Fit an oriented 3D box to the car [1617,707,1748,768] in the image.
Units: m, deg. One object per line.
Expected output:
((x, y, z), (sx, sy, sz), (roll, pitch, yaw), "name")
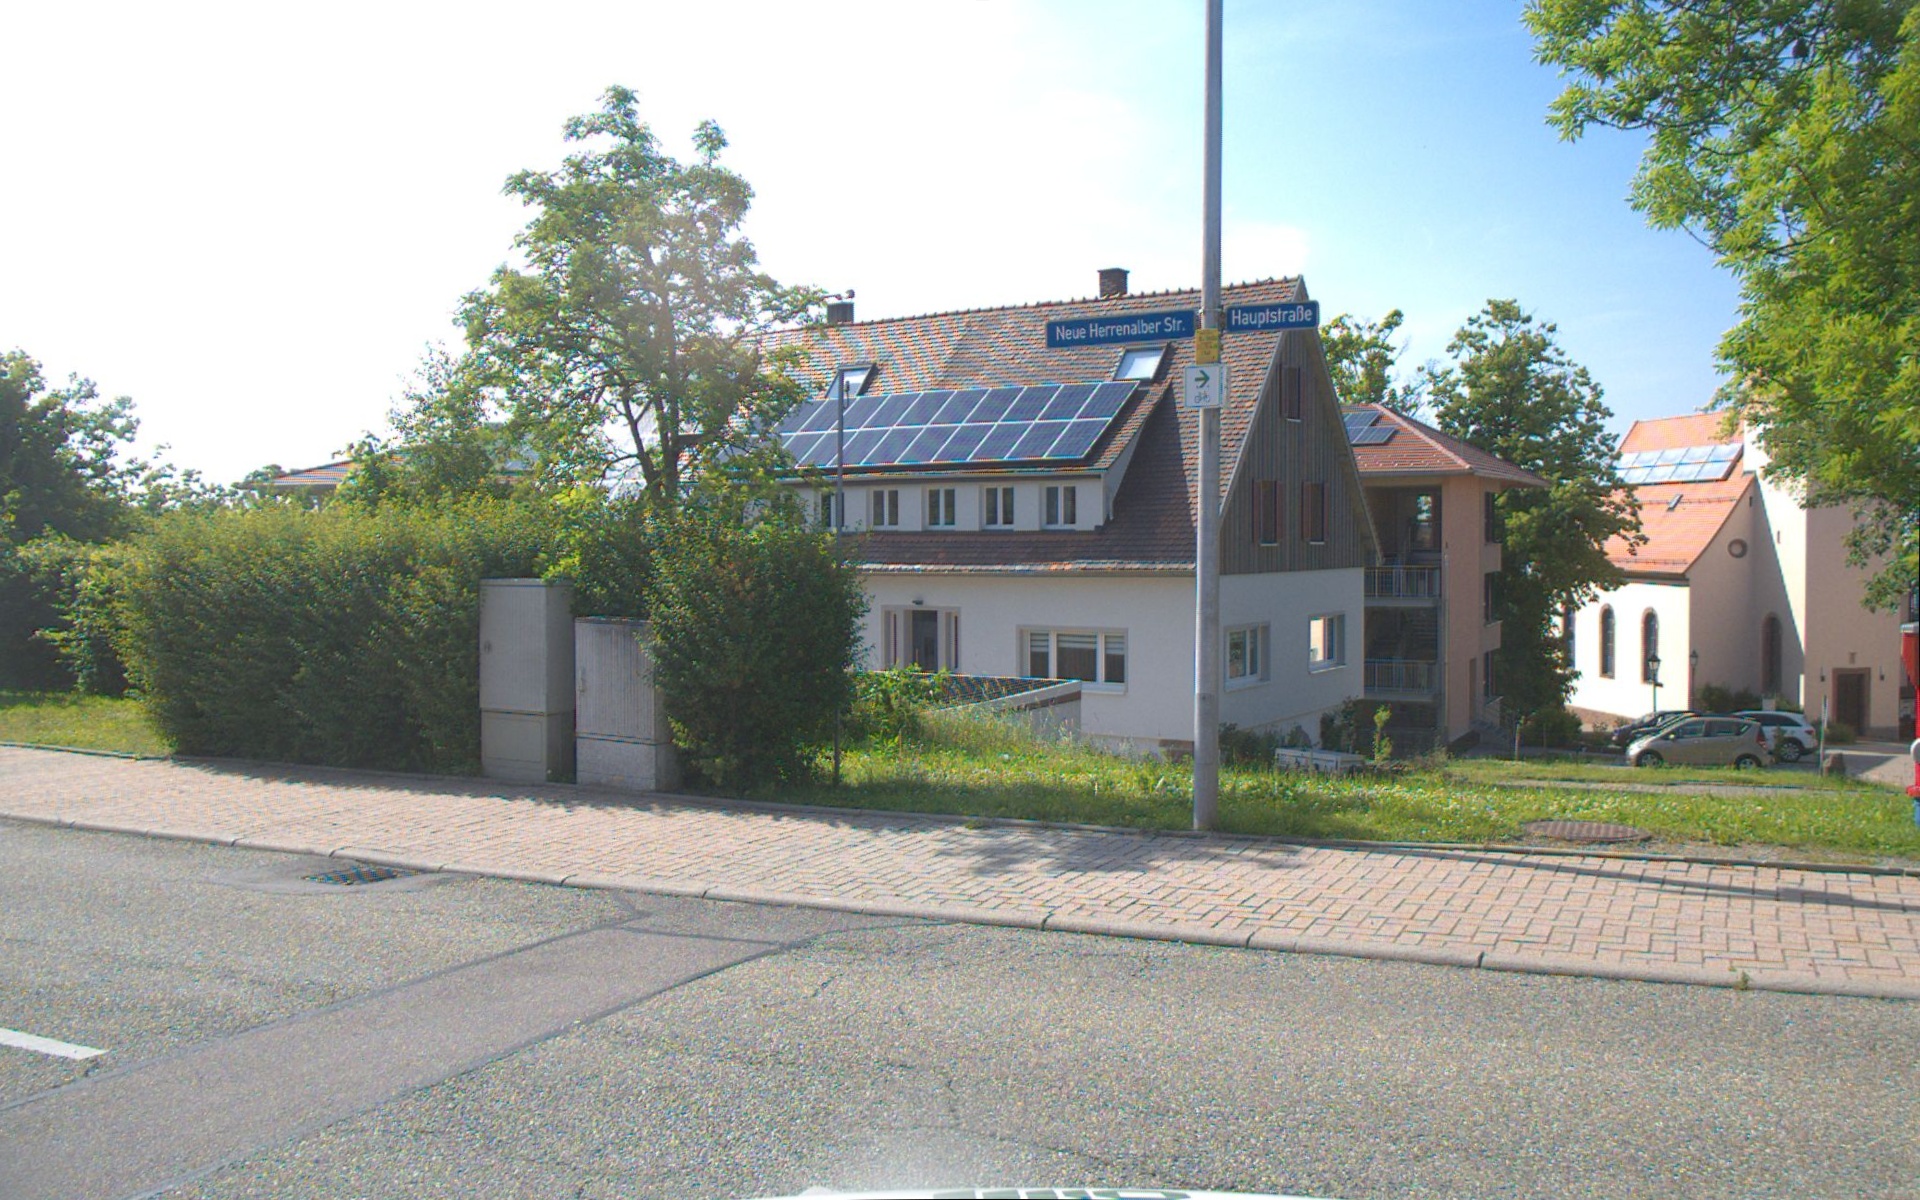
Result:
((22.841, 4.334, 52.453), (3.695, 1.789, 1.713), (-1, -2, 21), "car")

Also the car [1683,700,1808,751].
((26.623, 4.231, 56.161), (3.695, 1.622, 1.713), (-1, -2, 21), "car")

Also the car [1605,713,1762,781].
((20.563, 4.156, 47.159), (4.006, 1.789, 1.713), (-1, -2, 22), "car")
